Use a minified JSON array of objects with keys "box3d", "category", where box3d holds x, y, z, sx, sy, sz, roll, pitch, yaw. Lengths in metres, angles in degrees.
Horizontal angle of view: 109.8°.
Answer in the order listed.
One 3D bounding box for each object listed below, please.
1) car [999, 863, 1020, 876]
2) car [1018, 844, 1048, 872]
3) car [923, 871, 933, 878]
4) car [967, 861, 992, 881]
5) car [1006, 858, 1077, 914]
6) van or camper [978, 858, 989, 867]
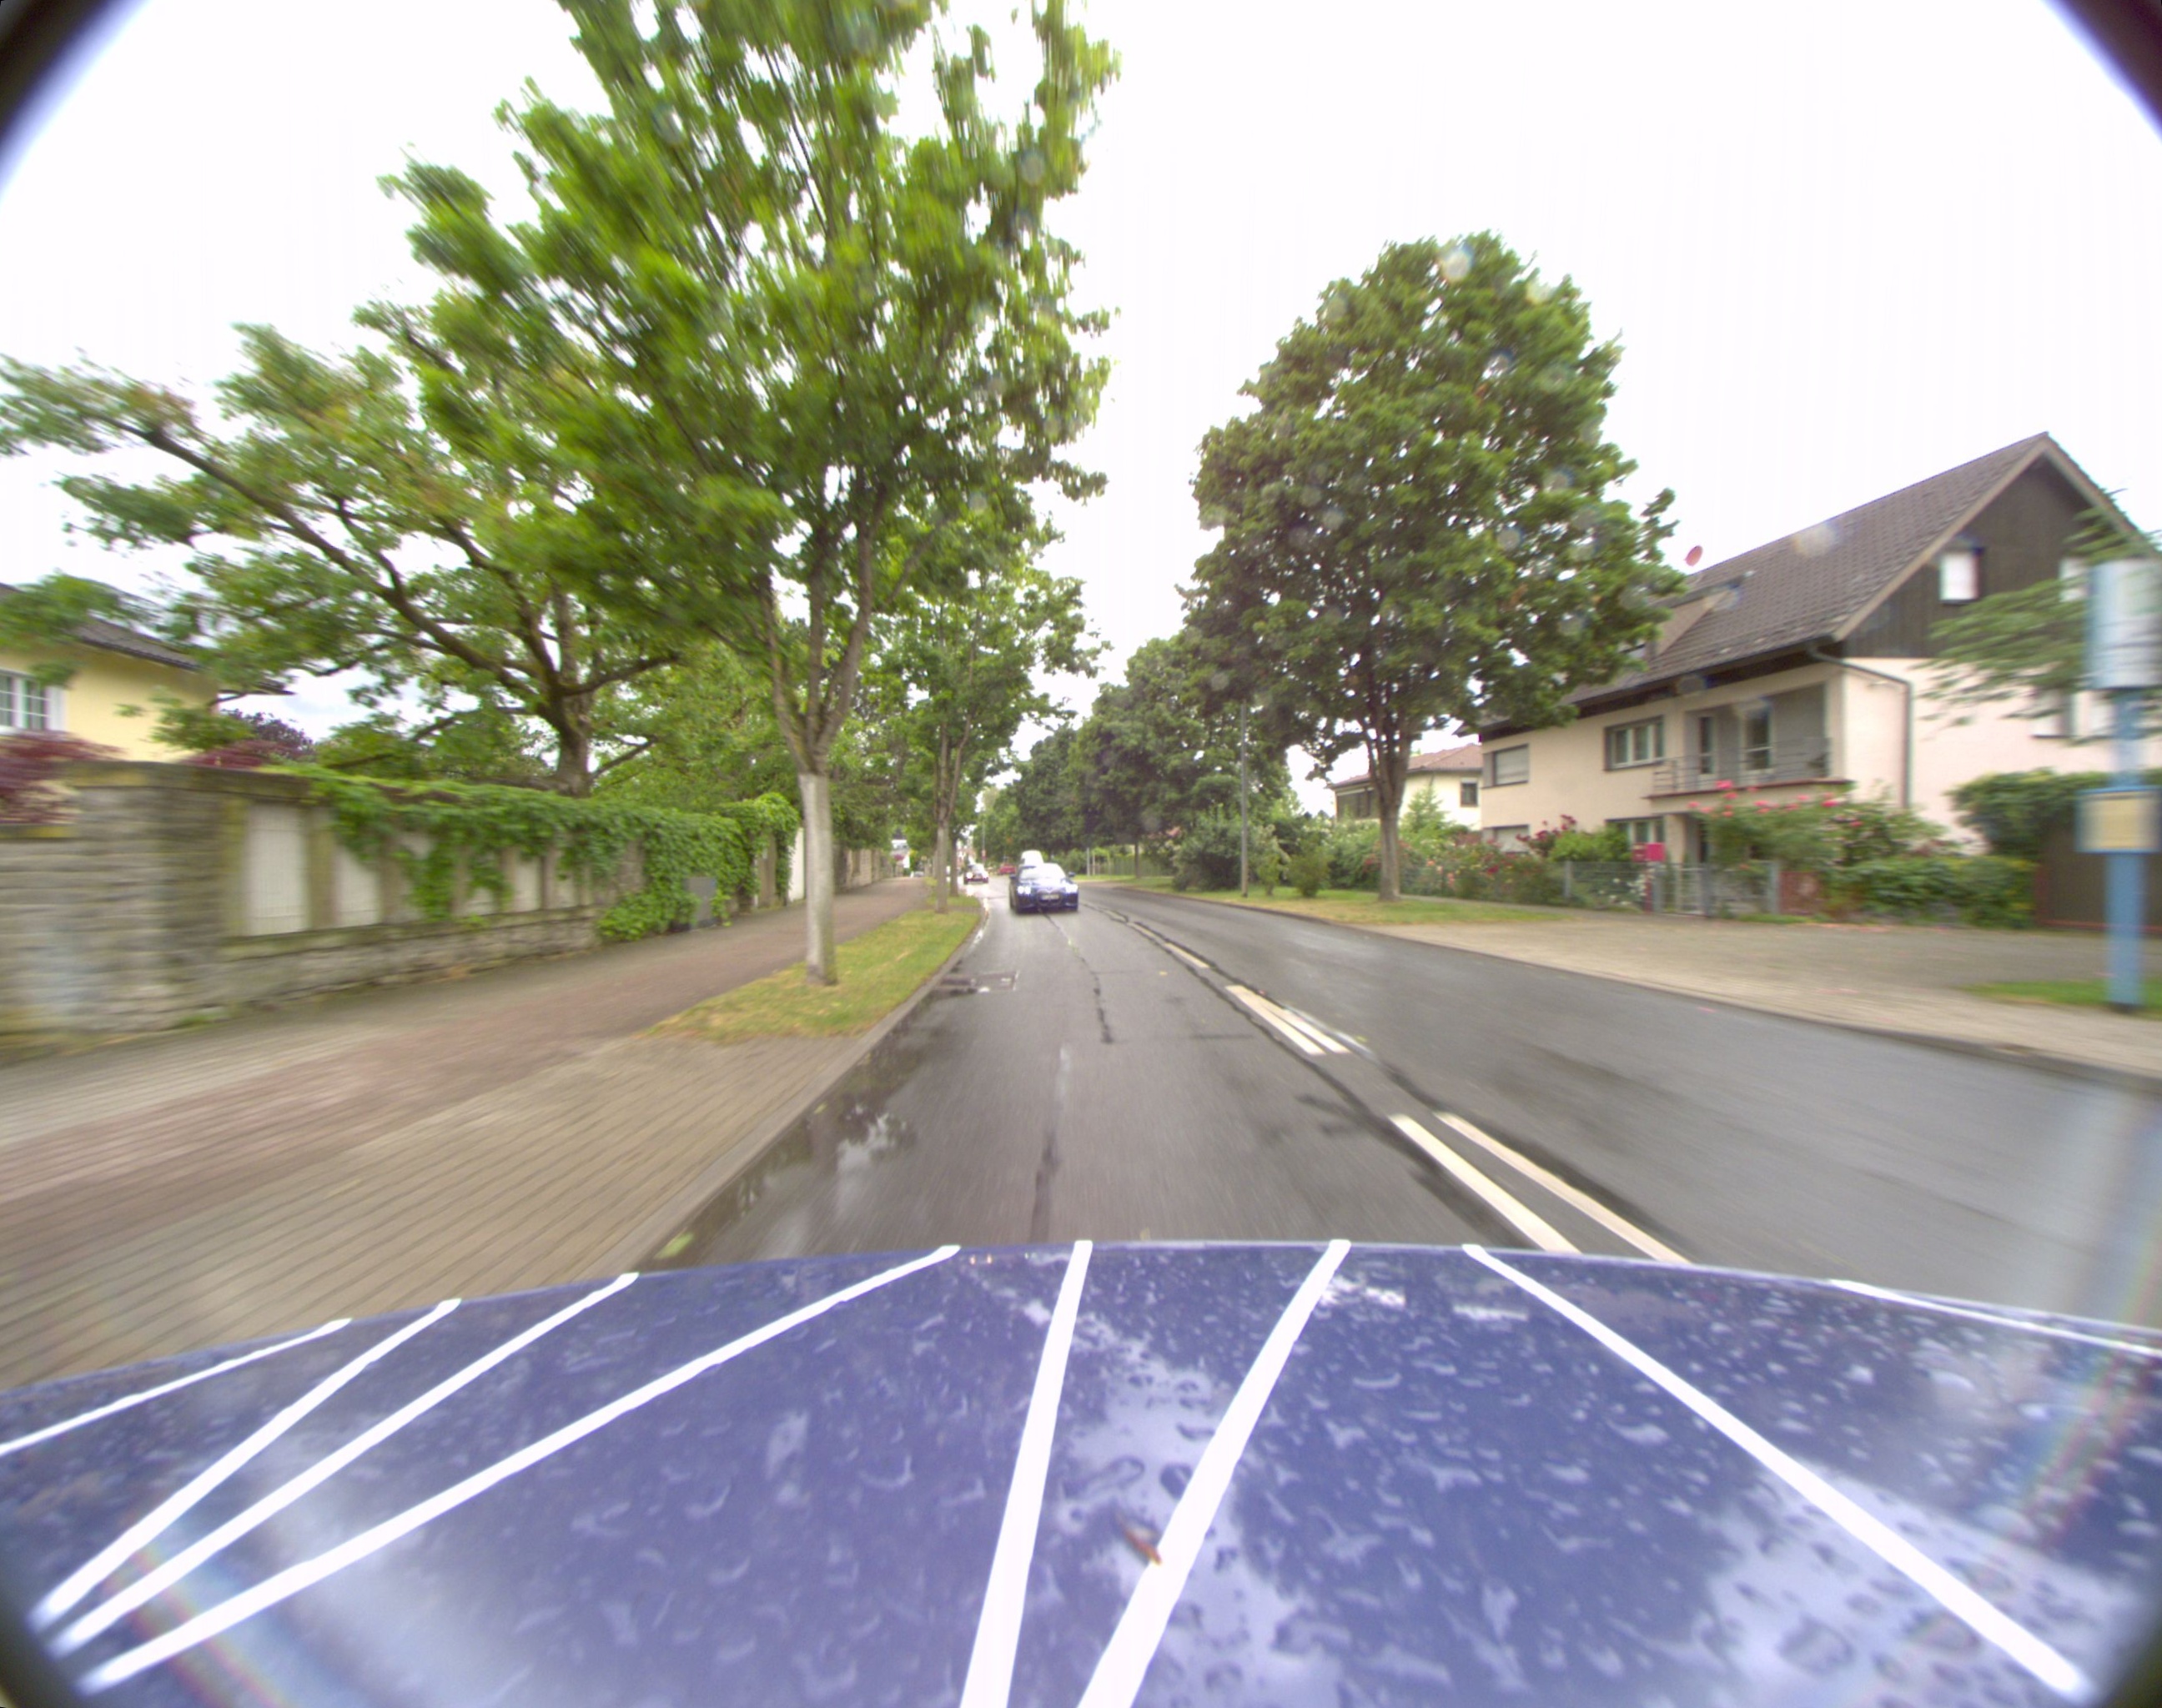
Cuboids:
[{"box3d":[-8.622,1.879,91.615,1.850,1.457,4.245,-2,-1,-13],"category":"car"},{"box3d":[-4.656,0.439,73.051,2.001,2.546,5.227,-1,0,-13],"category":"car"},{"box3d":[-28.426,3.847,141.587,1.647,1.369,3.827,0,-2,-8],"category":"car"},{"box3d":[-7.798,1.310,58.001,1.658,1.443,3.997,-3,-1,-10],"category":"car"},{"box3d":[-1.345,0.999,24.342,1.897,1.531,3.998,-3,-1,-7],"category":"car"},{"box3d":[-28.680,2.612,223.340,2.148,2.593,5.783,0,0,4],"category":"van or camper"}]
